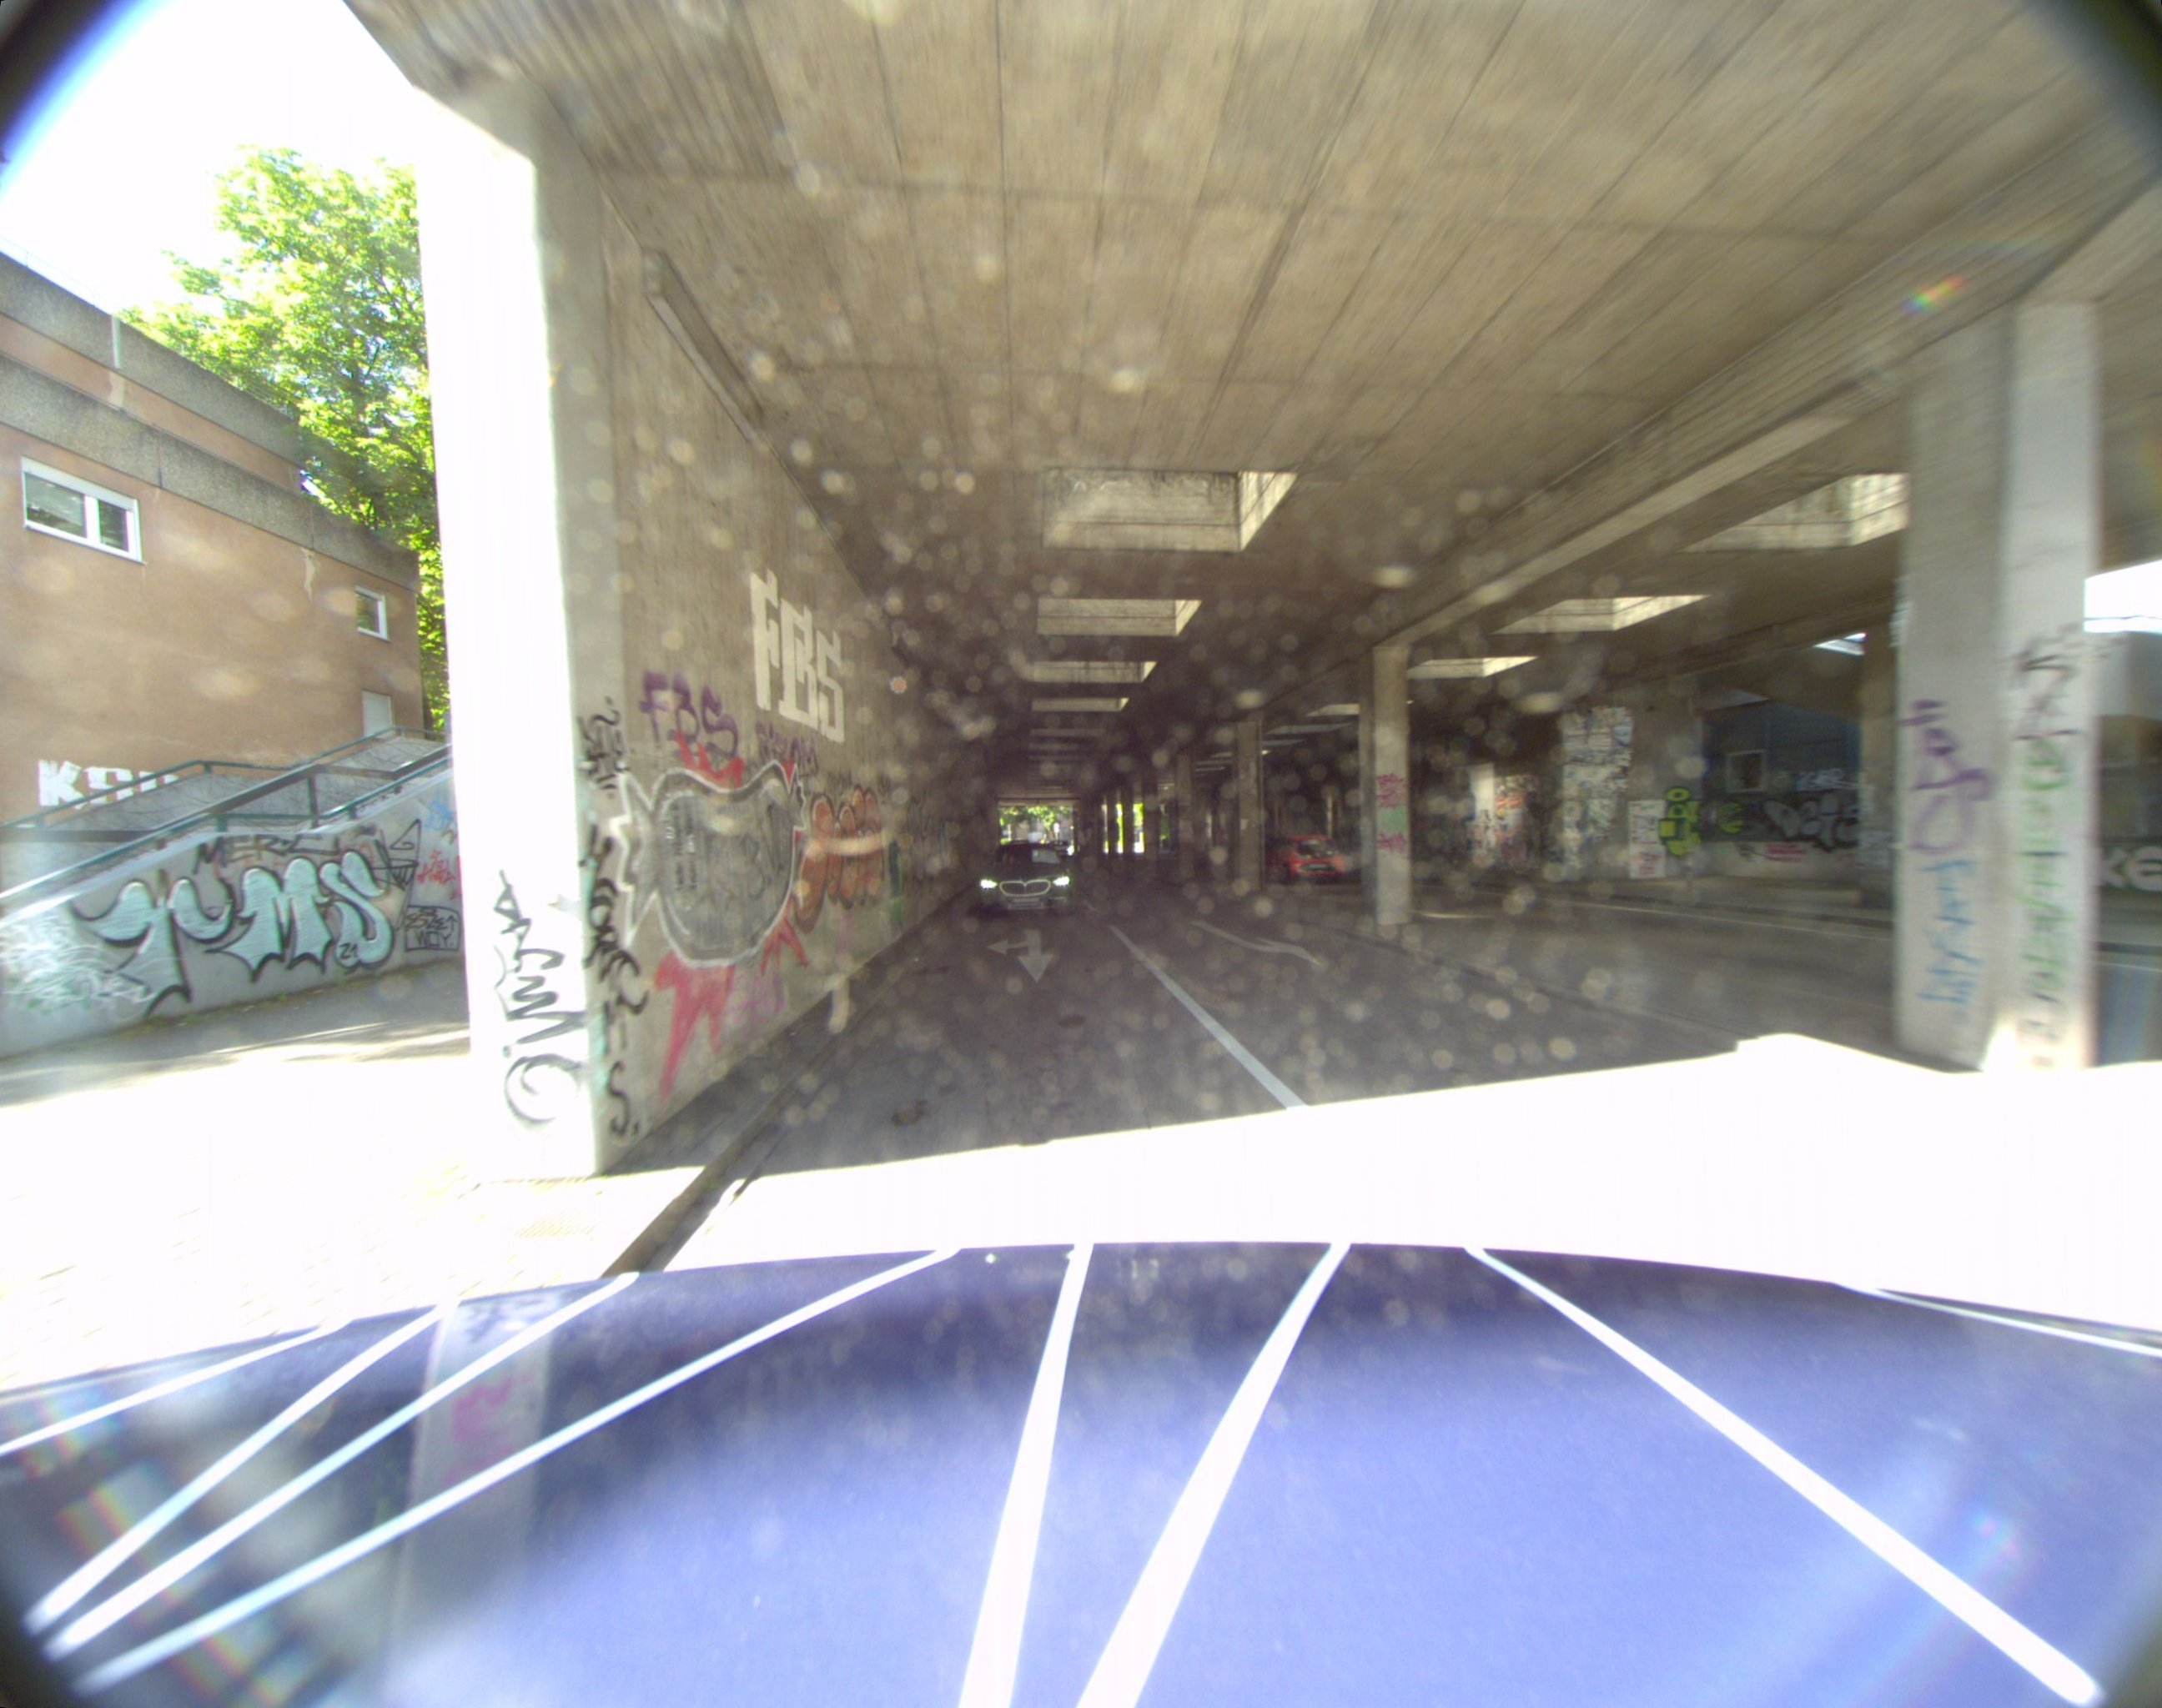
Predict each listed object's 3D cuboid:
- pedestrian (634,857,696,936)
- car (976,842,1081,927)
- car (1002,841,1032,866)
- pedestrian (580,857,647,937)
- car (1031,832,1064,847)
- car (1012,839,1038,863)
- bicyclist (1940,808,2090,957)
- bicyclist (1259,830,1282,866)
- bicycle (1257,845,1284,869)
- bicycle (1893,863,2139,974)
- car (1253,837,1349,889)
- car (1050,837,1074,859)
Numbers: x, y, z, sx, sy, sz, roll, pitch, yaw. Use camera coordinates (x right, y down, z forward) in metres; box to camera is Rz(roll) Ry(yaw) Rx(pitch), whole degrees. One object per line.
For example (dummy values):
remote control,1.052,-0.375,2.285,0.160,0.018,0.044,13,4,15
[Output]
pedestrian,-7.154,0.711,13.086,0.724,1.291,0.589,-2,2,-10
car,-1.124,0.538,16.987,1.958,1.547,5.037,-2,1,-3
car,-3.826,-0.071,45.742,1.617,1.367,4.197,-2,1,-3
pedestrian,-7.958,0.721,12.955,0.740,1.291,0.613,-2,2,-10
car,-4.189,-1.805,94.619,3.999,1.762,1.797,-2,2,-5
car,-3.750,-0.228,51.363,1.617,1.546,4.011,-2,1,-3
bicyclist,10.826,0.307,8.845,0.607,1.623,0.909,-2,2,-4
bicyclist,9.006,-0.281,36.219,0.748,1.701,0.967,-2,0,-5
bicycle,9.019,0.157,36.222,0.700,1.084,1.859,-2,-1,-4
bicycle,10.832,0.690,8.926,0.527,1.084,1.859,-2,1,-4
car,6.632,0.222,23.274,1.662,1.433,3.461,-2,1,-5
car,-1.417,-0.471,56.579,1.617,1.546,4.011,-2,1,-3
